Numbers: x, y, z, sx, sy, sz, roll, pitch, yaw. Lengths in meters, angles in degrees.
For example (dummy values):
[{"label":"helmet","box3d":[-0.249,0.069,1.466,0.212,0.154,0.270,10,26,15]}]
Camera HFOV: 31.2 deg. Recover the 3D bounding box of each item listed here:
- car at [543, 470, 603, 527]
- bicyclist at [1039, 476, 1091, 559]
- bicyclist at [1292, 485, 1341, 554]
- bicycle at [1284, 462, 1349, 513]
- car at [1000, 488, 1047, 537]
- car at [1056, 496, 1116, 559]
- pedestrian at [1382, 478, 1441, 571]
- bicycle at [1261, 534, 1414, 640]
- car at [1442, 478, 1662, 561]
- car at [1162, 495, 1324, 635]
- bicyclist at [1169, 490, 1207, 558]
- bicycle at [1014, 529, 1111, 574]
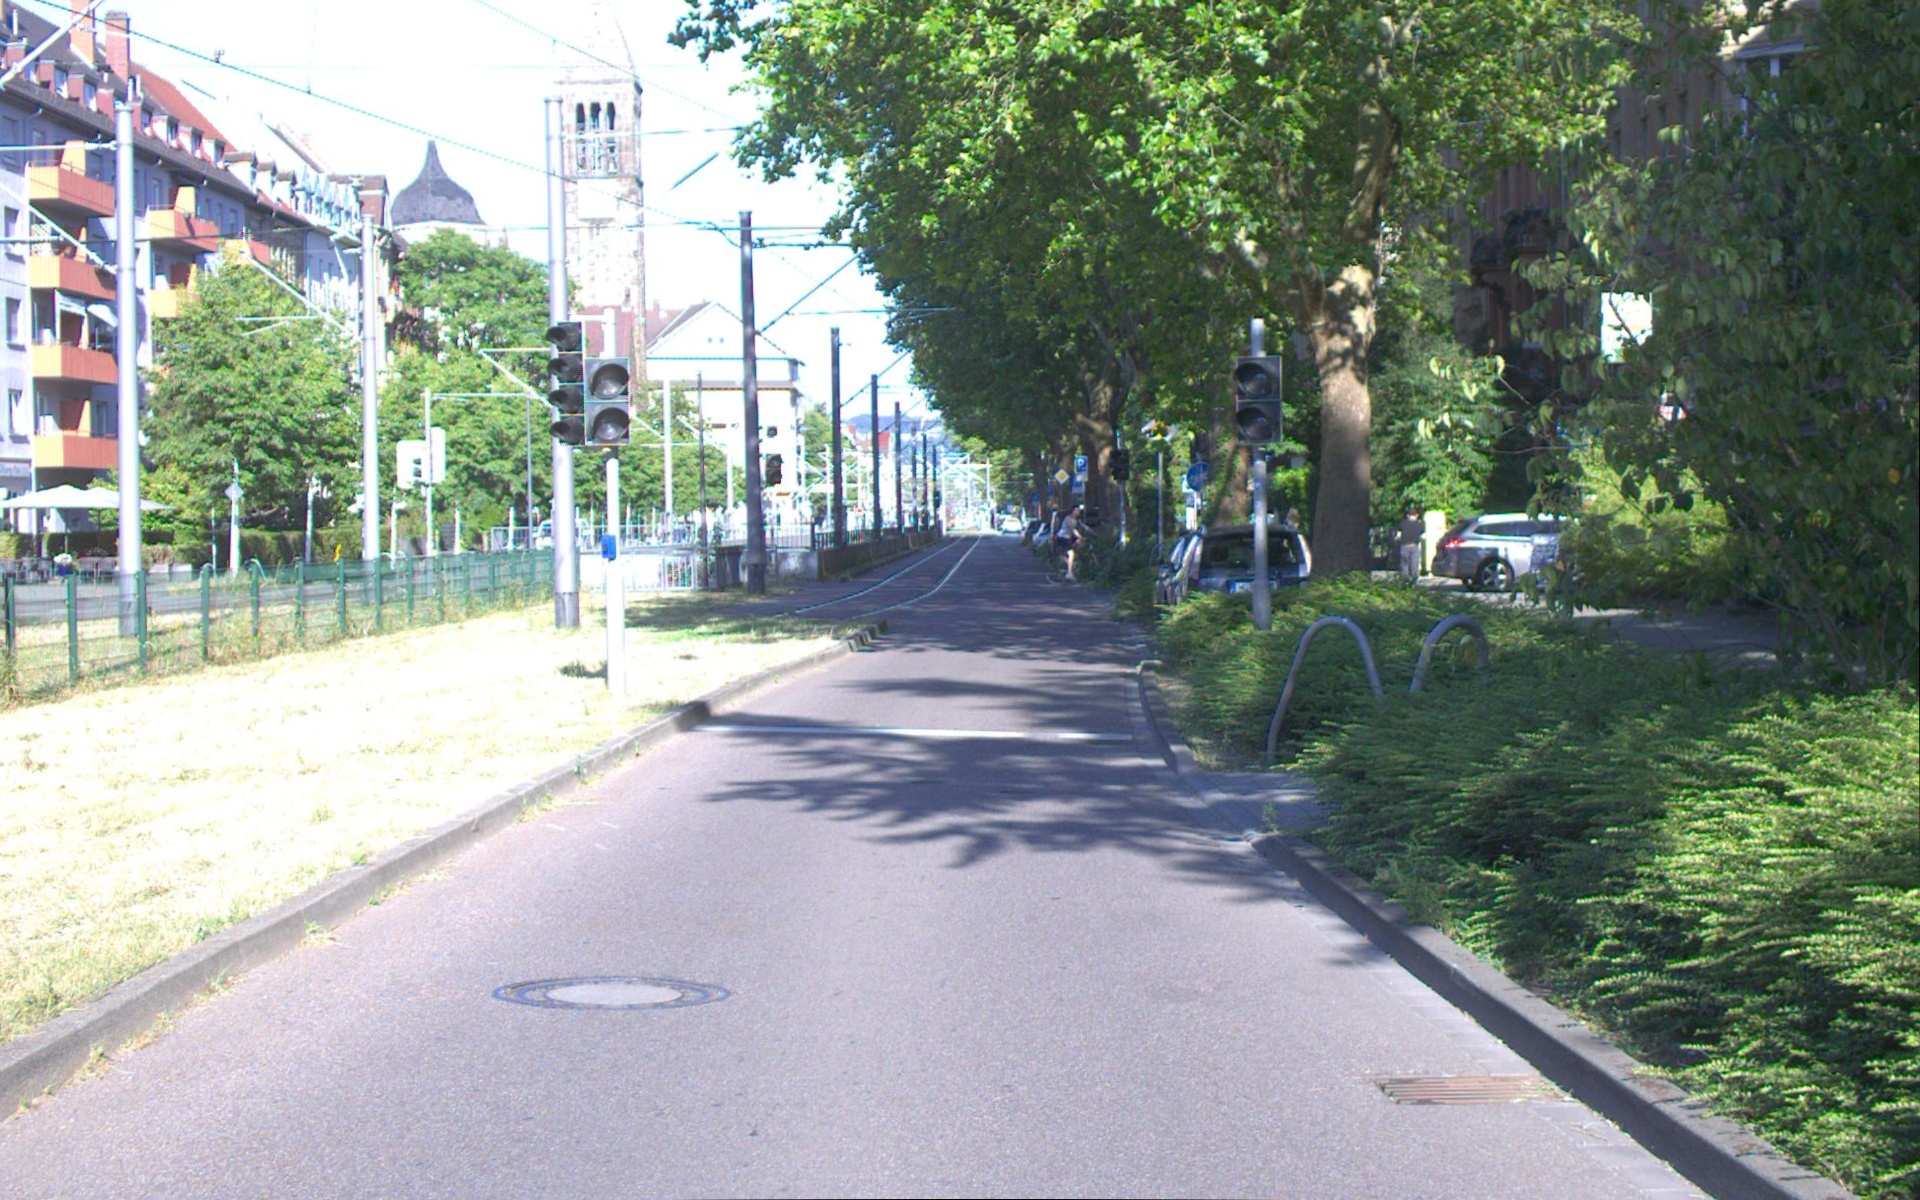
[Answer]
[{"label":"car","box3d":[-15.320,-4.050,136.145,1.993,2.006,4.001,-2,4,-2]},{"label":"bicyclist","box3d":[2.454,-1.934,80.720,1.141,1.884,0.682,-2,4,1]},{"label":"bicyclist","box3d":[7.599,-1.720,73.326,0.813,1.400,0.825,-3,4,-8]},{"label":"bicycle","box3d":[7.587,-2.400,73.189,0.813,0.953,2.318,-3,4,-8]},{"label":"car","box3d":[2.800,-3.822,150.780,1.993,2.100,4.000,1,1,1]},{"label":"car","box3d":[4.306,-2.474,118.209,1.993,2.100,4.000,1,1,1]},{"label":"pedestrian","box3d":[8.655,-1.454,65.905,0.813,1.683,1.081,-3,4,-8]},{"label":"bicycle","box3d":[4.097,-0.148,37.241,1.596,1.022,0.542,-4,5,-28]},{"label":"car","box3d":[11.107,-1.521,64.631,3.988,1.415,1.999,-1,2,9]},{"label":"car","box3d":[3.338,-0.461,41.196,1.643,1.506,4.183,-2,2,1]},{"label":"bicyclist","box3d":[5.404,-1.799,81.532,0.749,1.552,0.573,-3,4,-7]},{"label":"bicycle","box3d":[2.402,-1.138,80.773,2.241,0.972,0.682,-1,4,0]}]
